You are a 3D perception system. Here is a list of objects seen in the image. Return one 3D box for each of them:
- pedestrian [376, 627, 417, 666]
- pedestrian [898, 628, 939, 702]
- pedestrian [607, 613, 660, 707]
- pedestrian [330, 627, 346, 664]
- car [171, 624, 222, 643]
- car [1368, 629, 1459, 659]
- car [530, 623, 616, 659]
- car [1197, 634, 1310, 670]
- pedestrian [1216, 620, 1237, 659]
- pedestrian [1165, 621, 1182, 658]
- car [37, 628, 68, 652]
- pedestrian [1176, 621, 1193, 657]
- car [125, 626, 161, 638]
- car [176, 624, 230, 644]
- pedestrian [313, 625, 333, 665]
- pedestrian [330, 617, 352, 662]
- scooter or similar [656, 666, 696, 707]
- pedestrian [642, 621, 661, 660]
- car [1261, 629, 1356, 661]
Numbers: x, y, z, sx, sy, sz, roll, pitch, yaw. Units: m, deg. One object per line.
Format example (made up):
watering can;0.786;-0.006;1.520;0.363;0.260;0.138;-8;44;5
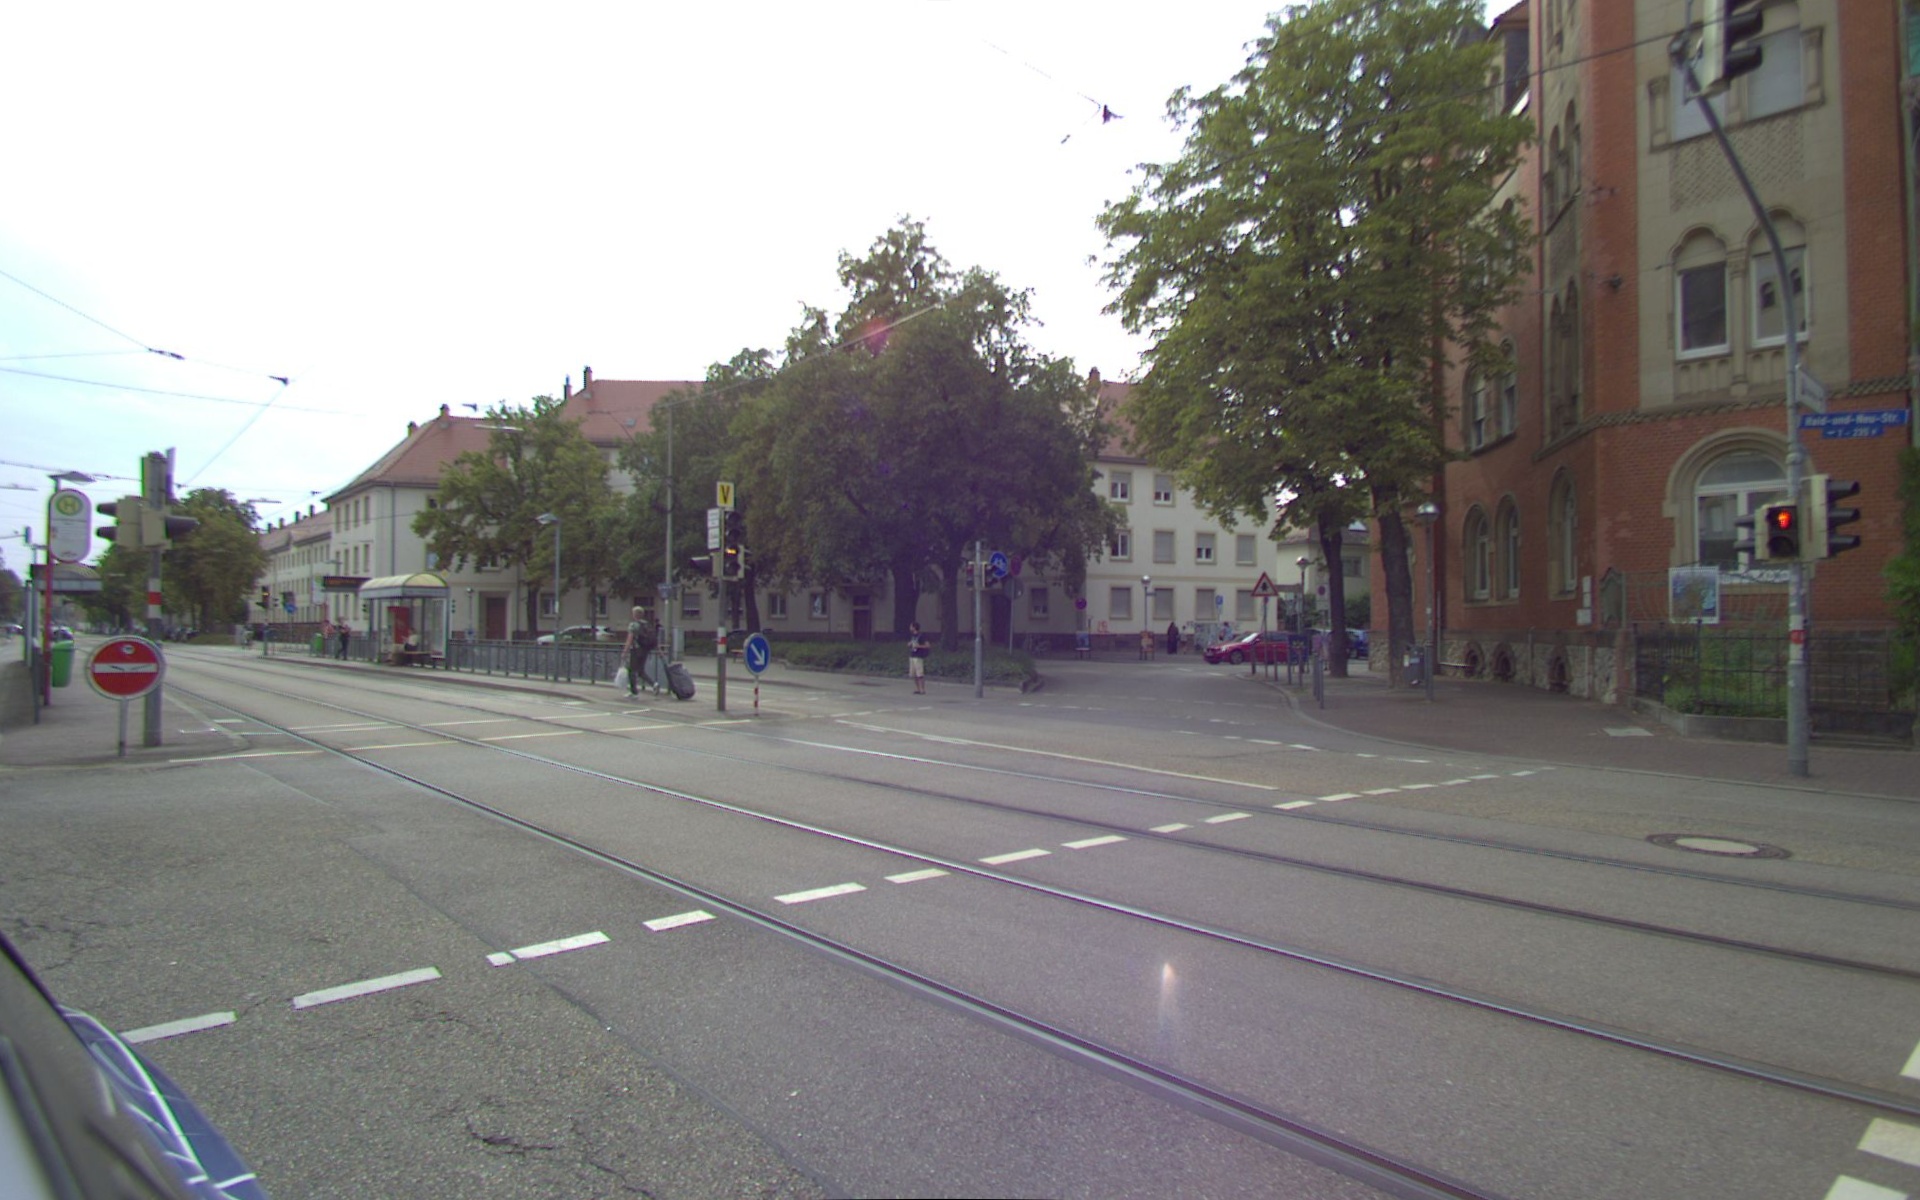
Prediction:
pedestrian;-18.640;1.541;33.470;1.018;1.246;0.724;0;-2;-45
pedestrian;-0.978;1.507;23.837;0.712;1.703;0.645;-2;-3;43
pedestrian;-6.084;1.115;18.895;0.802;1.703;0.686;3;-3;-11
pedestrian;-29.348;2.127;47.759;0.401;1.716;0.495;-1;-1;34
car;-75.753;3.329;100.487;3.938;1.739;1.879;0;-1;-41
car;22.336;2.168;49.861;3.931;1.415;1.709;1;-2;-19
car;-21.177;2.210;55.525;4.132;1.879;1.857;-1;-1;-8
car;11.995;2.114;41.354;4.237;1.415;1.709;1;-2;-21
pedestrian;12.767;1.900;48.496;0.827;1.840;0.660;-1;-1;27
pedestrian;10.702;1.960;50.685;0.543;1.840;0.590;0;-1;-24
car;-81.387;3.574;90.788;1.969;2.029;4.005;0;-1;-42
pedestrian;11.328;1.958;51.017;0.543;1.840;0.590;0;-1;-24
car;-114.869;4.485;142.271;3.938;1.739;1.879;0;-1;-41
car;-69.766;3.139;93.293;3.938;1.739;1.879;0;-1;-41
pedestrian;-29.664;2.105;47.148;0.463;1.848;0.650;-1;-1;33
pedestrian;-24.031;1.531;39.275;0.619;1.716;0.580;-2;-2;43
scooter or similar;-5.337;1.630;19.064;0.660;0.718;0.605;3;-3;-12
pedestrian;-16.409;2.151;53.874;0.851;2.029;0.765;0;-1;-9
car;16.409;2.102;47.895;1.877;1.415;4.325;1;-2;-22
